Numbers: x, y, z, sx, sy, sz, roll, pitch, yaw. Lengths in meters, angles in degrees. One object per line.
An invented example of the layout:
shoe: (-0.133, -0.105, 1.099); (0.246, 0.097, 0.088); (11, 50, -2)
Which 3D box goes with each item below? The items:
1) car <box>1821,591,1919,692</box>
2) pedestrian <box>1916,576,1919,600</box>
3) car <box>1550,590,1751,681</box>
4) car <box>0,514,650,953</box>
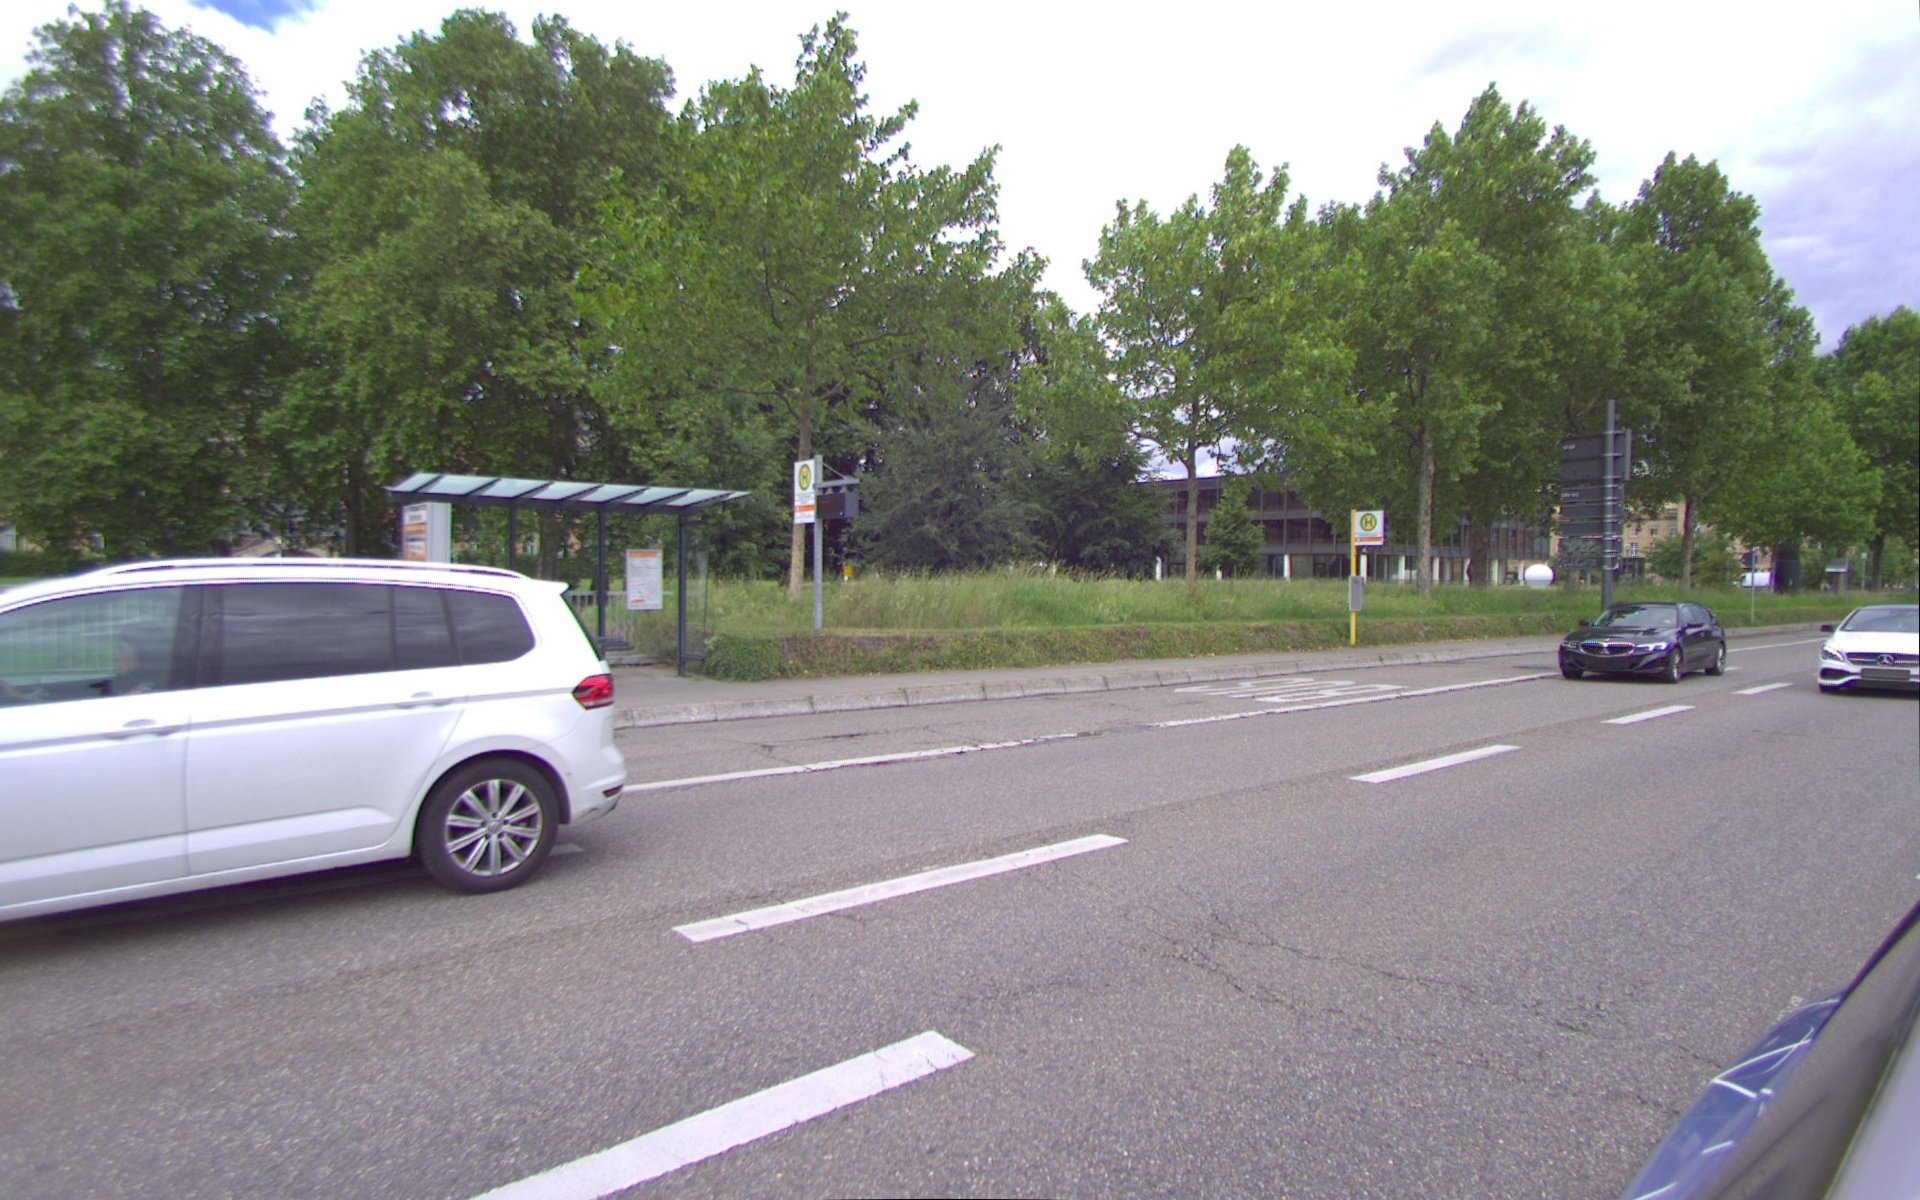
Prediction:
car: (15.674, 0.598, 16.448); (4.446, 1.437, 1.798); (-1, 1, -39)
pedestrian: (83.977, -1.067, 88.127); (1.160, 2.039, 0.891); (-1, 0, -40)
car: (13.216, 0.582, 19.277); (4.445, 1.478, 1.936); (-1, 0, -39)
car: (-3.932, 0.488, 4.901); (4.230, 1.660, 1.996); (0, 1, -42)
